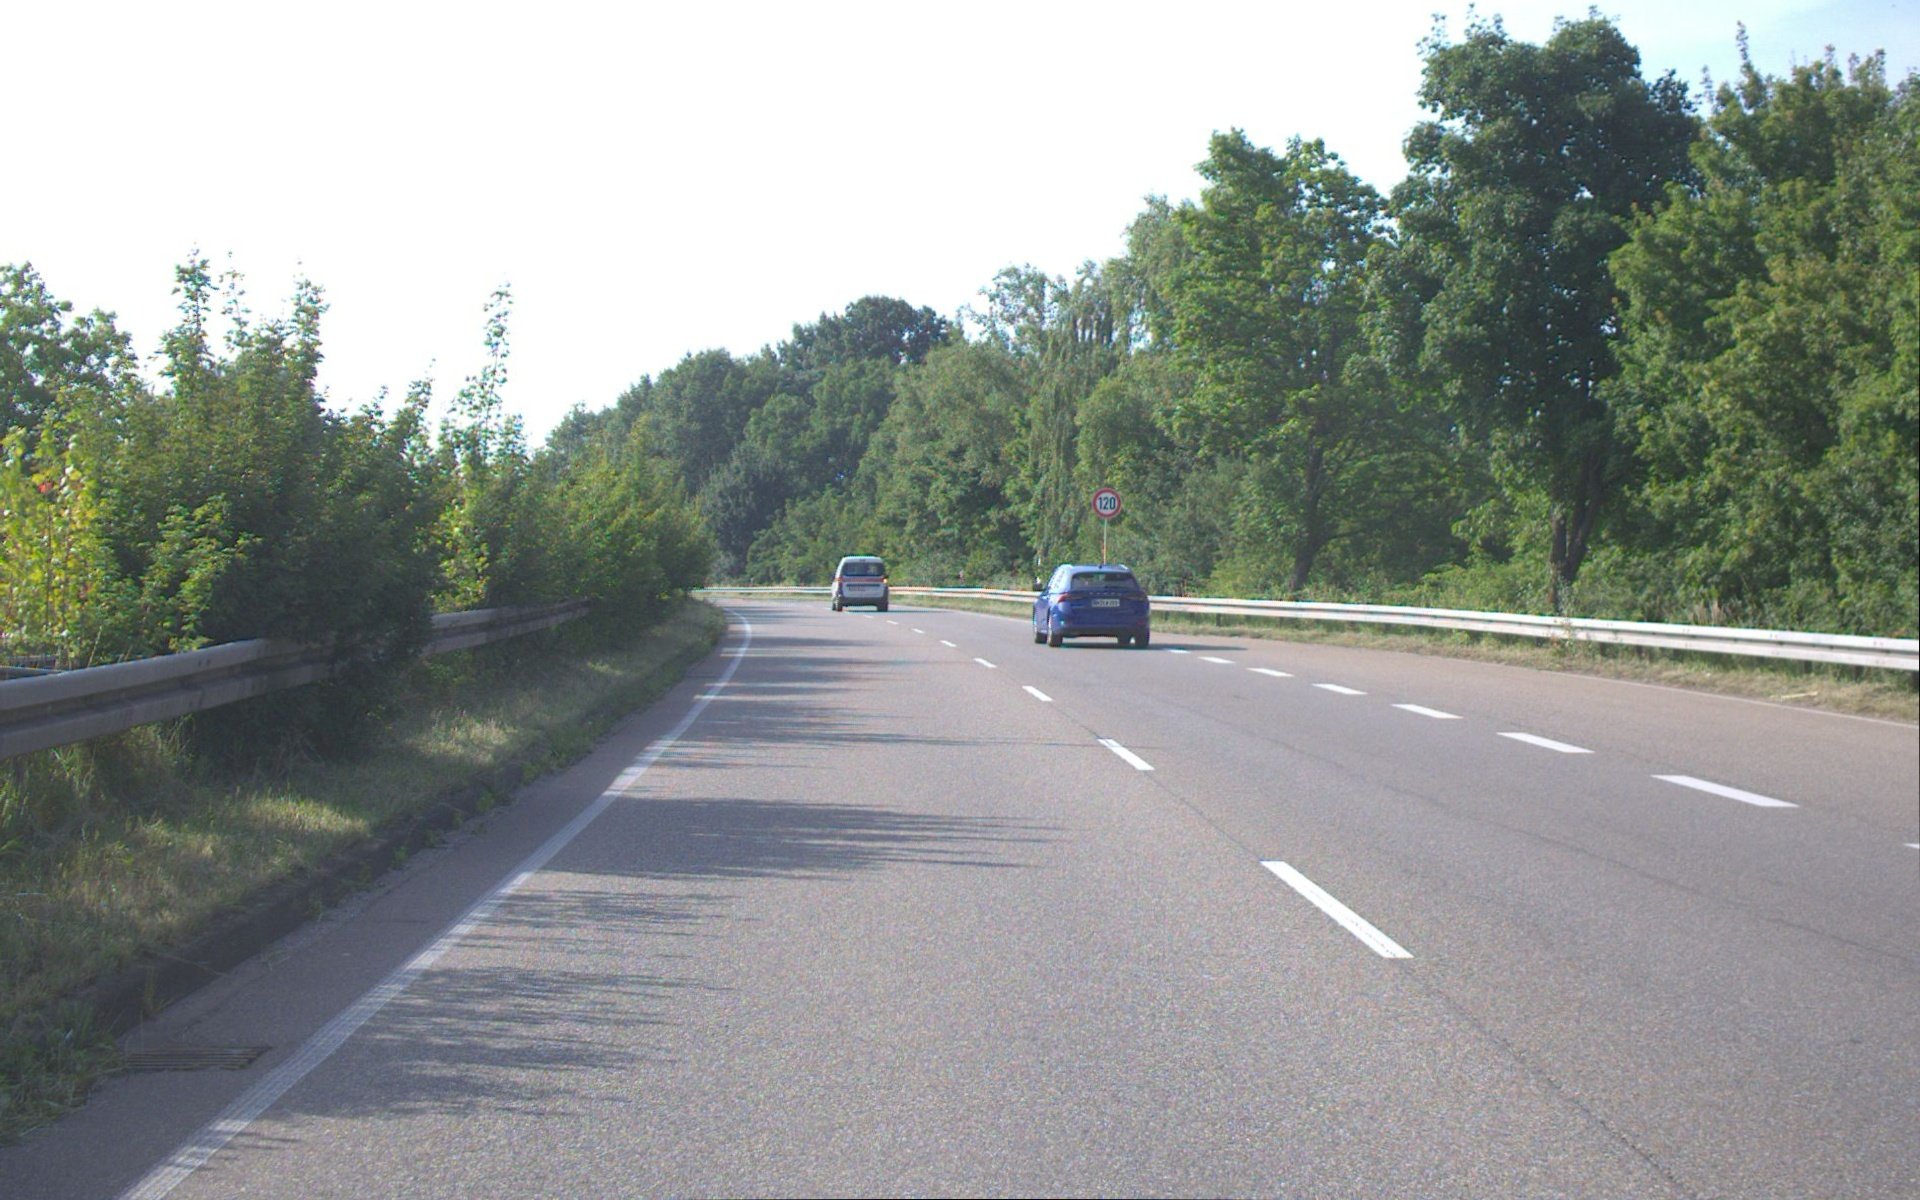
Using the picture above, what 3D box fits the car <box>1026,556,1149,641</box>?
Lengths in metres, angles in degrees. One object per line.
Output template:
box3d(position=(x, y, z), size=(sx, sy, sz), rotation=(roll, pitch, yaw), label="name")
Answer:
box3d(position=(2.241, -0.036, 61.238), size=(1.779, 1.446, 4.001), rotation=(0, 0, -4), label="car")

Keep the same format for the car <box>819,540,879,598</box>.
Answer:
box3d(position=(-3.656, -1.044, 113.112), size=(1.765, 1.875, 4.001), rotation=(0, 1, -5), label="car")
